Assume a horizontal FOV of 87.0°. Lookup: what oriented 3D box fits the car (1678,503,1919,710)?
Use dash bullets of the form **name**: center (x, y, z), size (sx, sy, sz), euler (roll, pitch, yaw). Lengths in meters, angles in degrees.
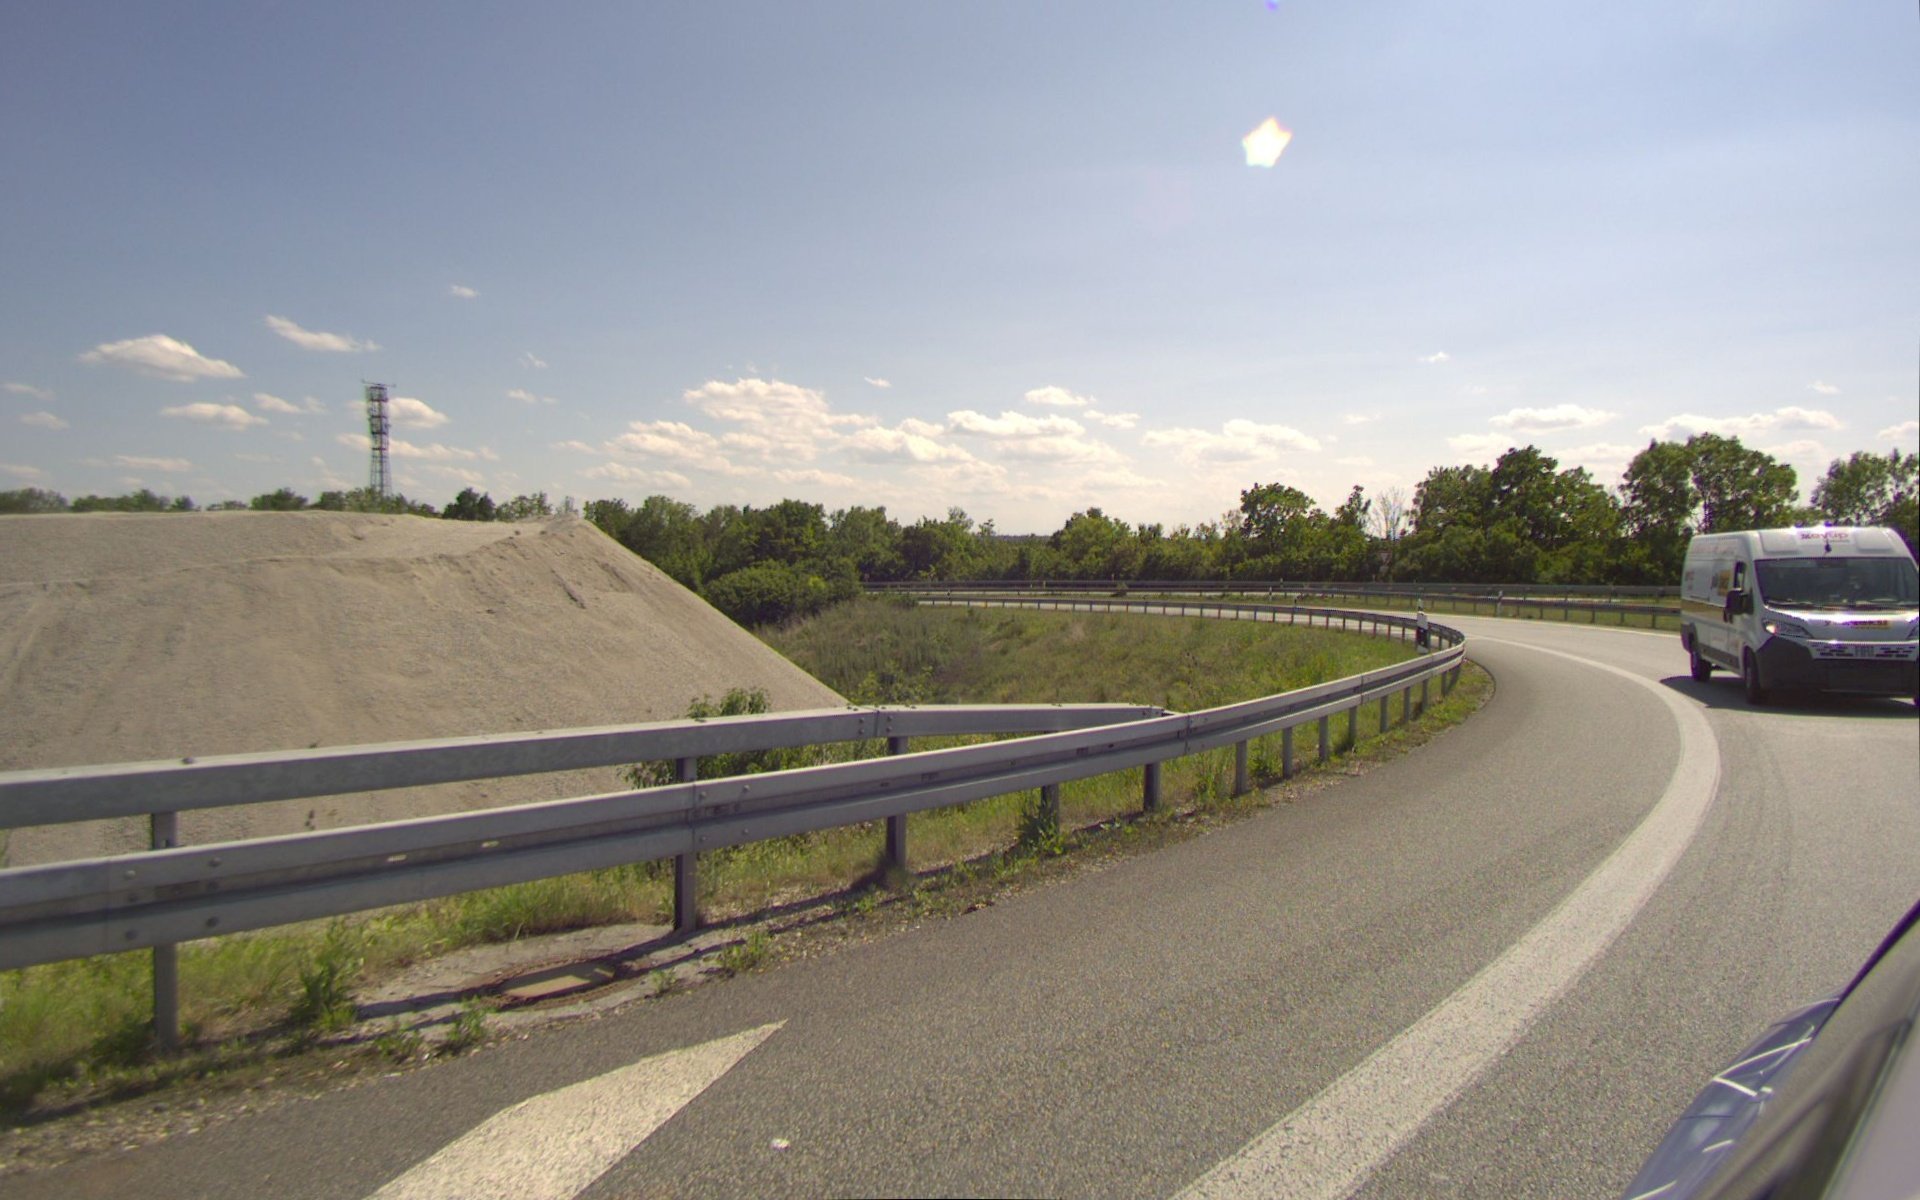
- **car**: center (12.866, -0.035, 15.473), size (2.068, 2.555, 6.180), euler (-4, 1, 27)
